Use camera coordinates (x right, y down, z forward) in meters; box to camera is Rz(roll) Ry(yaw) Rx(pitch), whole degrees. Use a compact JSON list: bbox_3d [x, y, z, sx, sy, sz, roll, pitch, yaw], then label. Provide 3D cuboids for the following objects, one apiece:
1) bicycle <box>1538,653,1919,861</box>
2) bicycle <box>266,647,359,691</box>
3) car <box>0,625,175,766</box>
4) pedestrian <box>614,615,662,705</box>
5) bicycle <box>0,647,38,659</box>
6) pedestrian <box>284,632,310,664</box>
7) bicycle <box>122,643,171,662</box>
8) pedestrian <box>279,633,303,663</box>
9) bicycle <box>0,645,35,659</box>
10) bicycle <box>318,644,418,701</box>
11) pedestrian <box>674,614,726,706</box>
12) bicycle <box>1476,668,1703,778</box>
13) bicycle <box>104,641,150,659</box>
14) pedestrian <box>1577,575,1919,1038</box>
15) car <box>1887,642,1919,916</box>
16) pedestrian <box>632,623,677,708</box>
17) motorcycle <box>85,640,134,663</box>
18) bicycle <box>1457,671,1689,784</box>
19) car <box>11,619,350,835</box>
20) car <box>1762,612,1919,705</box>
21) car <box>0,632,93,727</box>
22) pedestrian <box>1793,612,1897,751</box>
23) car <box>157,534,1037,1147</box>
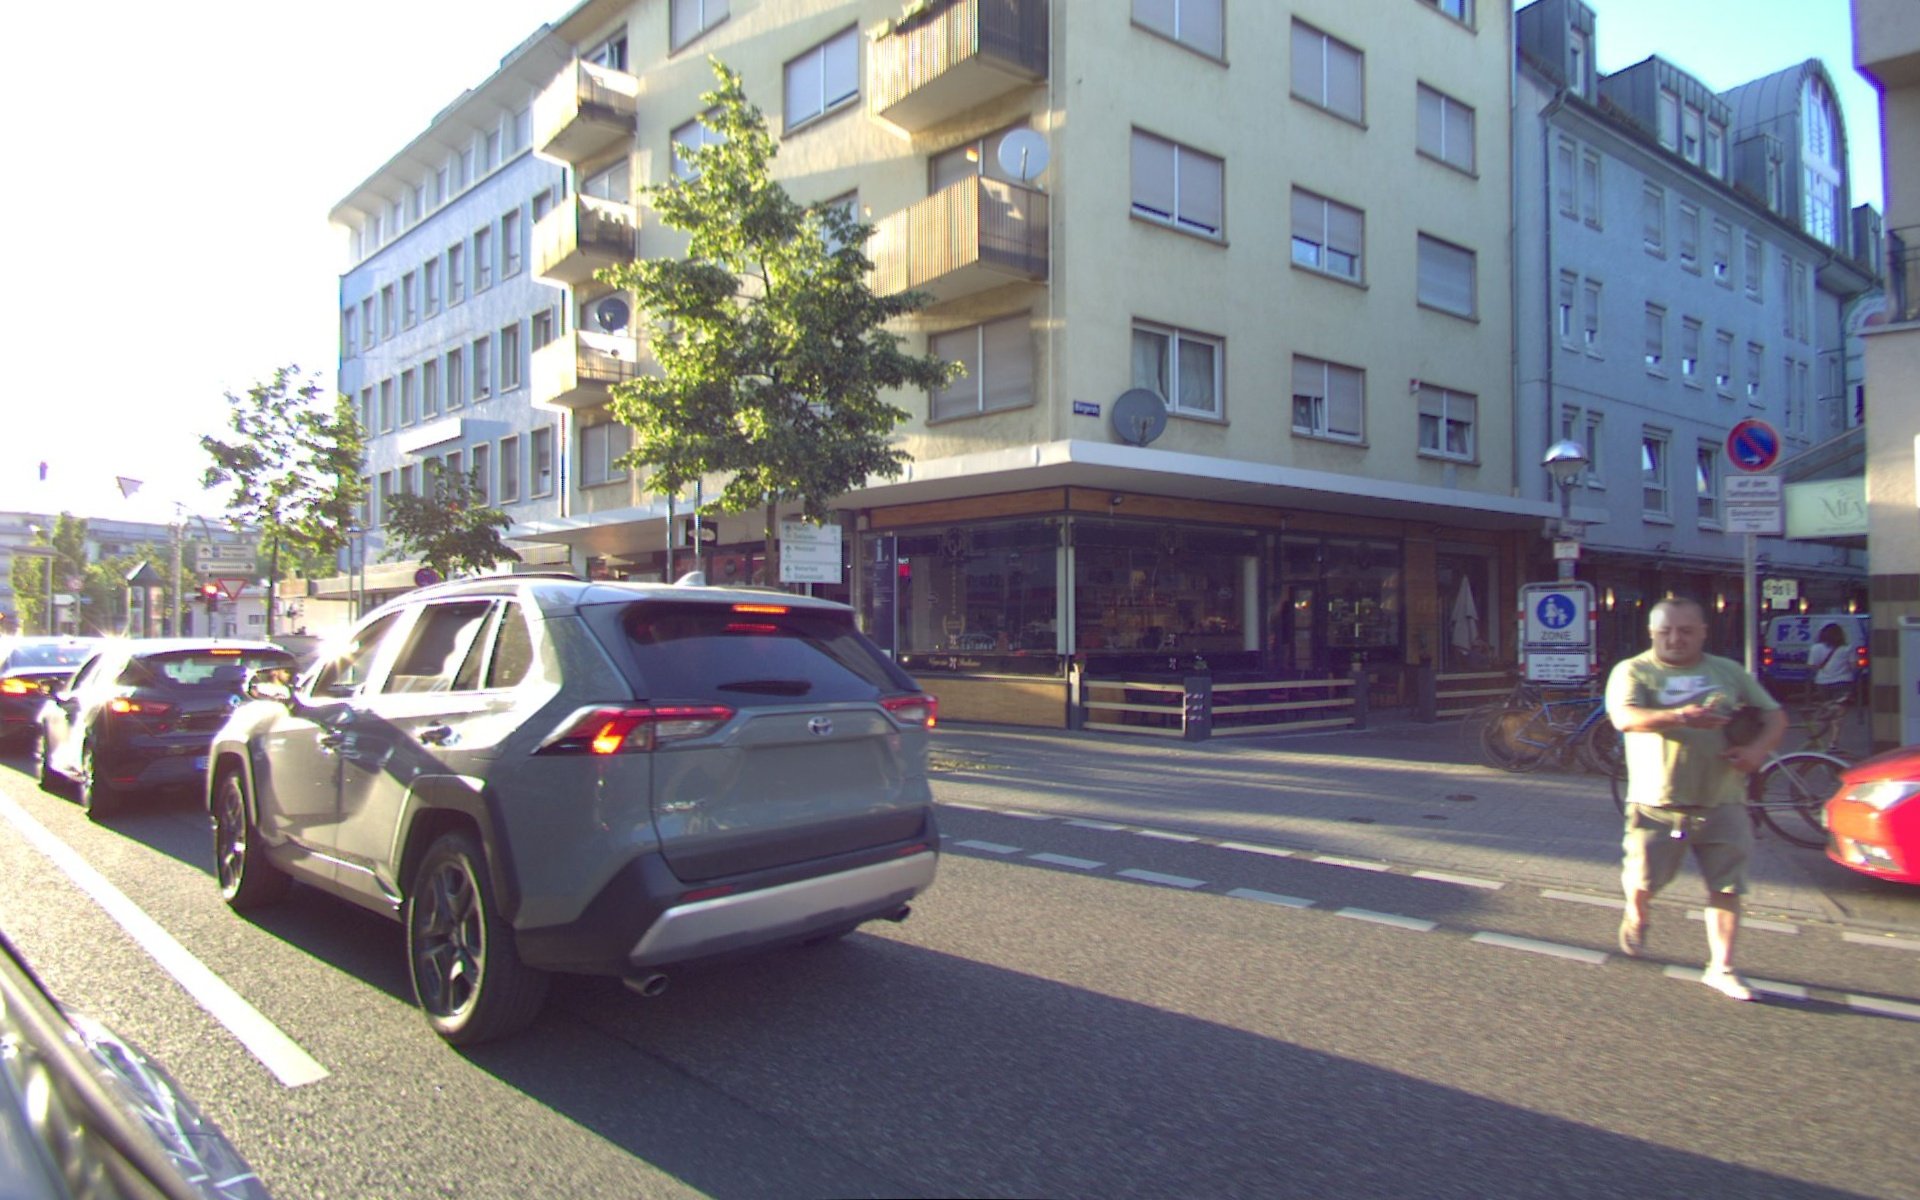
[{"bbox_3d":[6.202,1.102,7.579,3.124,1.310,0.949,-1,-1,40],"label":"bicycle"},{"bbox_3d":[-16.754,1.777,26.246,0.490,0.999,1.990,-1,0,37],"label":"bicycle"},{"bbox_3d":[-12.571,1.179,13.966,4.614,1.657,1.925,-1,-3,42],"label":"car"},{"bbox_3d":[-6.856,1.271,21.545,0.758,1.862,0.744,1,-3,-39],"label":"pedestrian"},{"bbox_3d":[-80.424,4.526,86.491,2.365,0.966,0.673,-1,0,-42],"label":"bicycle"},{"bbox_3d":[-38.337,2.748,58.527,0.873,1.798,0.902,-1,0,17],"label":"pedestrian"},{"bbox_3d":[-48.806,3.120,60.761,0.778,1.096,2.171,-1,-2,35],"label":"bicycle"},{"bbox_3d":[-39.216,2.812,59.339,0.896,1.689,0.778,-1,0,7],"label":"pedestrian"},{"bbox_3d":[-81.686,4.499,87.564,2.365,1.079,0.673,-1,0,-42],"label":"bicycle"},{"bbox_3d":[-14.025,1.697,24.034,0.491,1.228,1.988,-1,-1,41],"label":"bicycle"},{"bbox_3d":[-5.371,1.232,20.921,0.813,1.833,0.732,-3,-4,43],"label":"pedestrian"},{"bbox_3d":[6.740,1.279,10.929,2.016,0.999,0.484,-1,-1,43],"label":"bicycle"},{"bbox_3d":[-53.237,3.188,64.678,0.779,1.096,2.152,-1,-3,41],"label":"bicycle"},{"bbox_3d":[3.290,0.785,4.359,0.988,1.689,0.898,-1,-4,28],"label":"pedestrian"},{"bbox_3d":[7.115,0.964,4.832,3.882,1.413,1.643,-1,0,41],"label":"car"},{"bbox_3d":[-6.240,1.314,20.683,0.758,1.689,0.744,-1,-1,-6],"label":"pedestrian"},{"bbox_3d":[-55.921,3.383,66.528,2.416,1.376,0.780,-1,-2,-44],"label":"motorcycle"},{"bbox_3d":[6.339,1.286,10.556,2.014,0.999,0.485,-1,-1,40],"label":"bicycle"},{"bbox_3d":[-7.431,1.017,9.470,4.463,1.561,1.705,-3,-4,42],"label":"car"},{"bbox_3d":[19.825,1.197,22.264,4.799,1.841,2.005,1,-1,-33],"label":"car"},{"bbox_3d":[-17.428,1.403,18.280,4.505,1.559,1.938,-3,-3,39],"label":"car"},{"bbox_3d":[11.326,1.004,12.952,0.892,1.689,0.781,-1,-1,-35],"label":"pedestrian"},{"bbox_3d":[-2.107,0.709,5.010,4.734,1.657,1.921,-1,-3,39],"label":"car"}]
